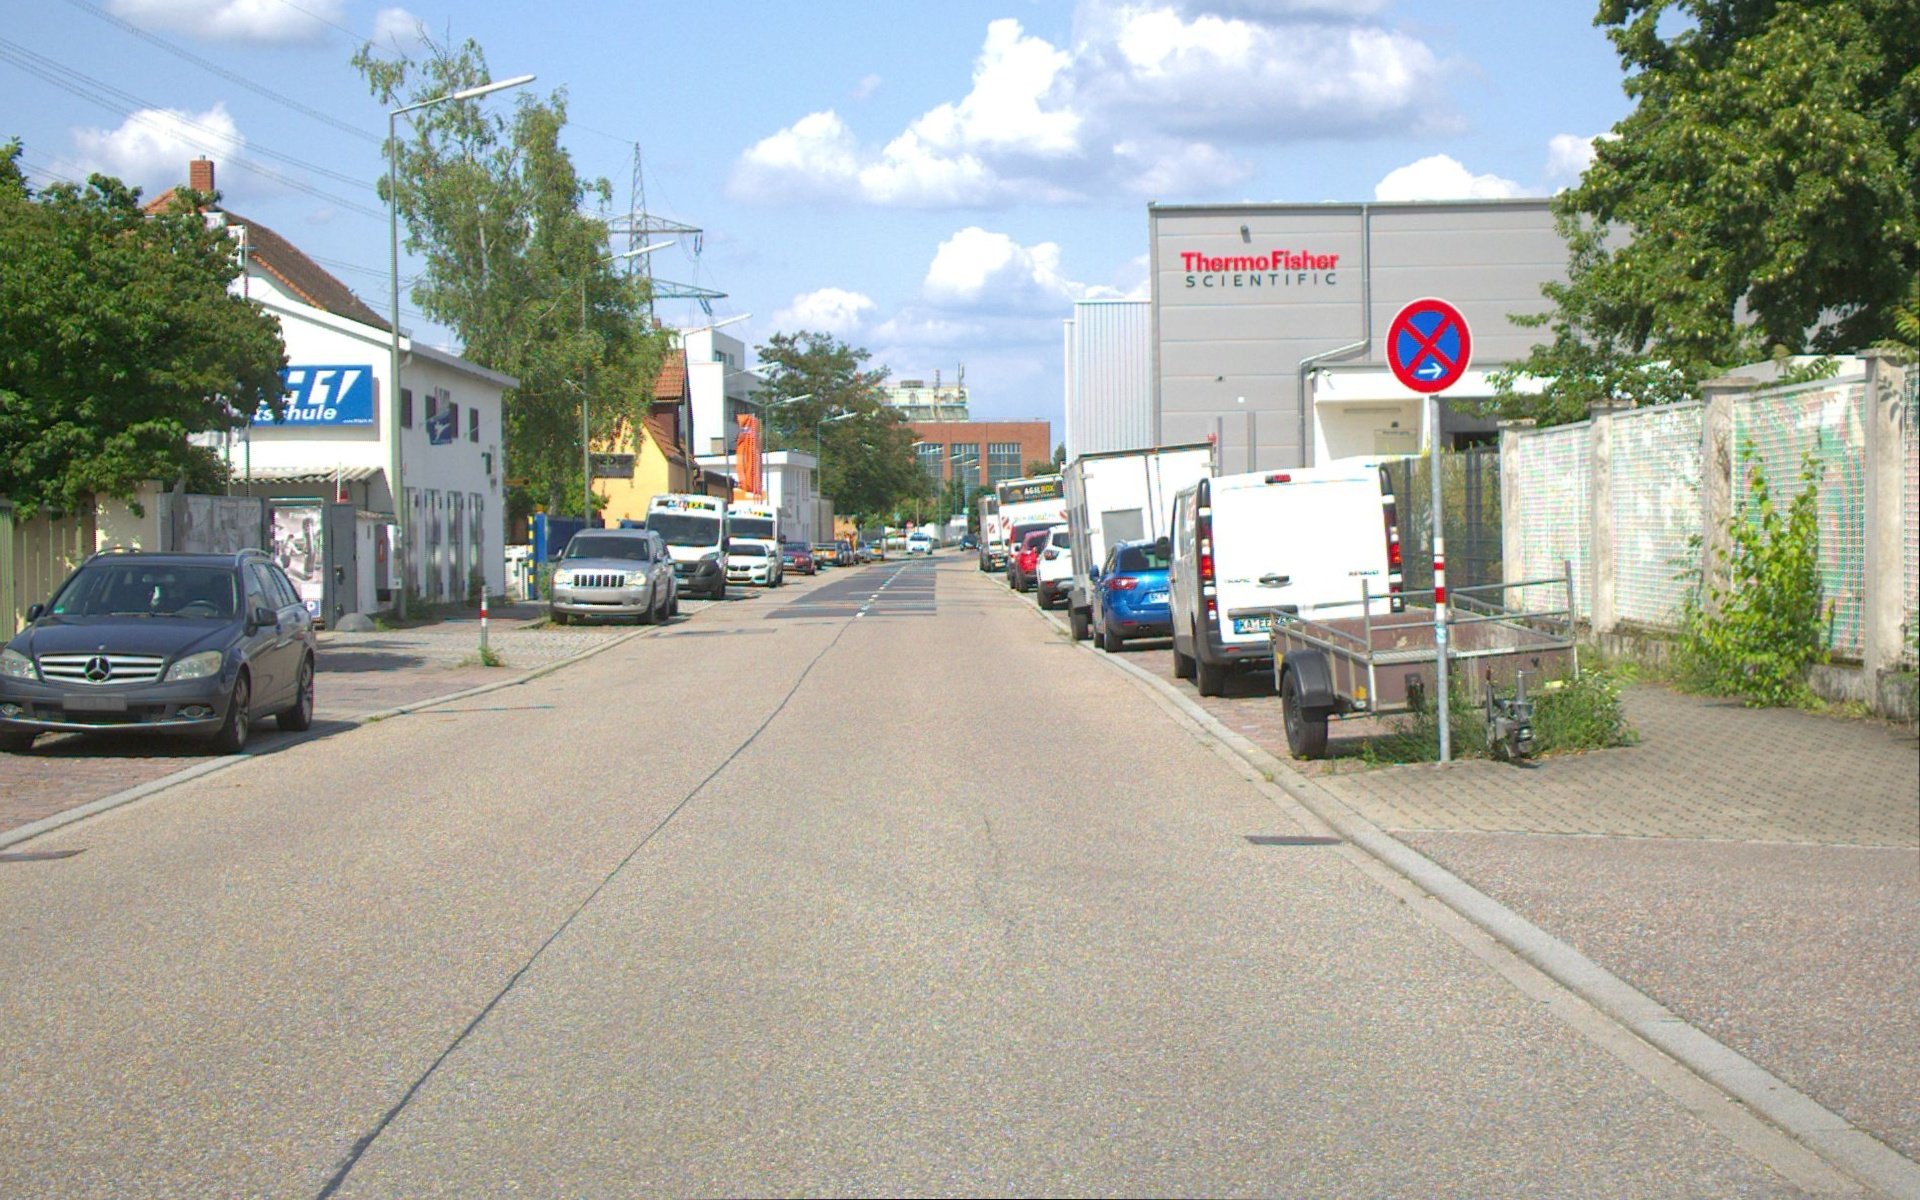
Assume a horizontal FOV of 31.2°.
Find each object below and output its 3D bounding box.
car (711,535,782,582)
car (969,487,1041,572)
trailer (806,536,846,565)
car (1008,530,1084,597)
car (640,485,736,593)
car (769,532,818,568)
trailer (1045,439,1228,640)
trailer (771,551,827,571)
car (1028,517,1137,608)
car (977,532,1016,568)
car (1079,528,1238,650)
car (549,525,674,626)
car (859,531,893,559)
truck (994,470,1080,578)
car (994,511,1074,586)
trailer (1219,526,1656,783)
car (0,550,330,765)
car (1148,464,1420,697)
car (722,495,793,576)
[{"bbox_3d":[-6.528,-1.268,105.555,1.796,1.392,4.502,1,1,1],"label":"car"},{"bbox_3d":[1.871,-2.950,145.523,2.388,3.351,6.646,-4,1,-3],"label":"car"},{"bbox_3d":[-7.146,-2.670,184.203,1.993,1.551,4.254,0,1,0],"label":"trailer"},{"bbox_3d":[2.226,-0.945,89.862,1.704,1.619,4.093,-4,1,-1],"label":"car"},{"bbox_3d":[-6.731,-1.498,85.800,2.030,2.549,6.658,2,1,-2],"label":"car"},{"bbox_3d":[-6.970,-2.096,144.410,1.762,1.442,4.741,1,1,0],"label":"car"},{"bbox_3d":[2.592,-0.896,52.023,2.204,2.727,6.222,-3,1,-1],"label":"trailer"},{"bbox_3d":[-7.618,-1.832,163.186,2.362,0.890,5.569,1,1,0],"label":"trailer"},{"bbox_3d":[2.474,-0.796,70.442,1.935,1.687,4.680,-3,1,0],"label":"car"},{"bbox_3d":[1.692,-2.297,158.113,1.768,1.607,3.873,-1,1,1],"label":"car"},{"bbox_3d":[2.567,-0.158,45.280,1.690,1.456,4.071,-3,1,-1],"label":"car"},{"bbox_3d":[-6.354,-0.471,63.068,1.790,1.713,4.752,2,1,0],"label":"car"},{"bbox_3d":[-5.466,-3.556,223.228,1.922,1.788,4.000,1,1,2],"label":"car"},{"bbox_3d":[2.517,-2.506,114.480,2.458,3.282,6.818,-5,1,0],"label":"truck"},{"bbox_3d":[2.065,-1.463,96.983,2.054,1.897,5.147,-4,1,1],"label":"car"},{"bbox_3d":[2.994,0.307,22.544,1.748,1.412,4.550,-4,1,-5],"label":"trailer"},{"bbox_3d":[-6.001,0.365,25.819,1.805,1.414,4.497,2,1,-2],"label":"car"},{"bbox_3d":[2.990,-0.214,32.929,1.993,2.007,5.650,-1,1,0],"label":"car"},{"bbox_3d":[-6.599,-2.079,112.859,2.026,2.552,6.840,1,1,-1],"label":"car"}]
